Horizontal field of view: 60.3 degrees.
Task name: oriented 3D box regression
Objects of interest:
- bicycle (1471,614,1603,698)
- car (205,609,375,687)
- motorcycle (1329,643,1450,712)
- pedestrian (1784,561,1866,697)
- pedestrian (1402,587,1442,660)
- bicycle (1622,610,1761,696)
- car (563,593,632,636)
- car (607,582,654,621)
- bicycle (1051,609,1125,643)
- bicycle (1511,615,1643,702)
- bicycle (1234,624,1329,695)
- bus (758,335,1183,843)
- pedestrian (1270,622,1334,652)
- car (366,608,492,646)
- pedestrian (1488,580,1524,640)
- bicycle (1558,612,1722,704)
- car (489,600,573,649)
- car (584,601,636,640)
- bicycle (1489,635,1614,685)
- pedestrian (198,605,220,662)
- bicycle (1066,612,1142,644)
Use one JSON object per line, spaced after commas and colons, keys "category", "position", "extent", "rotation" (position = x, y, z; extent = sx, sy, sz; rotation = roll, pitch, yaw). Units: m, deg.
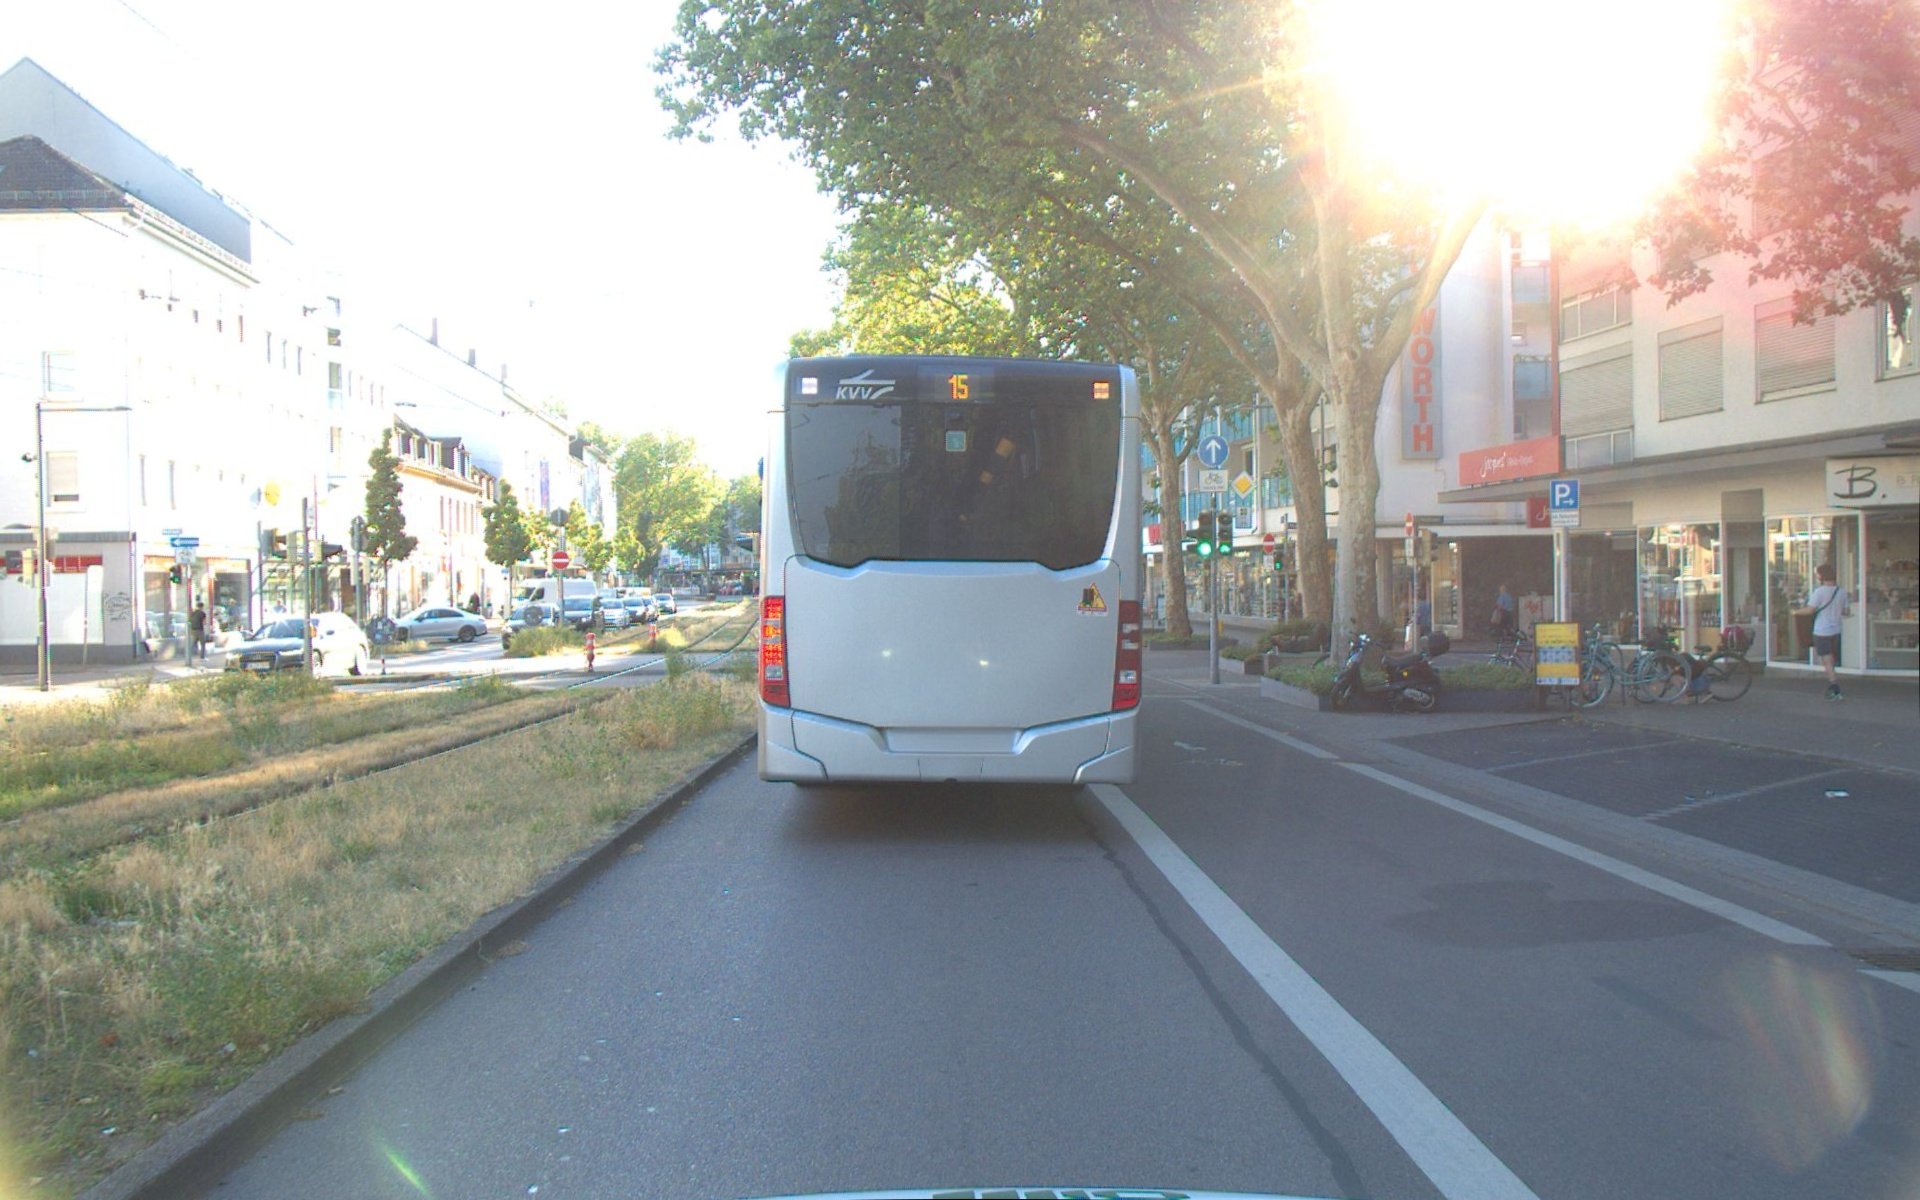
{"category": "bicycle", "position": [9.264, 0.893, 26.614], "extent": [1.836, 1.210, 0.712], "rotation": [-4, -1, 7]}
{"category": "car", "position": [-15.038, 1.034, 37.411], "extent": [1.953, 1.586, 4.773], "rotation": [-1, 0, -1]}
{"category": "motorcycle", "position": [6.042, 1.084, 23.289], "extent": [1.539, 0.908, 0.544], "rotation": [-1, 0, -4]}
{"category": "pedestrian", "position": [12.417, 0.402, 23.763], "extent": [0.632, 1.909, 0.821], "rotation": [-1, 0, -14]}
{"category": "pedestrian", "position": [11.642, 0.593, 41.724], "extent": [0.764, 1.825, 0.764], "rotation": [-1, 0, -1]}
{"category": "bicycle", "position": [10.840, 0.781, 24.554], "extent": [1.726, 1.174, 0.679], "rotation": [-3, 0, 8]}
{"category": "car", "position": [-14.861, 0.570, 67.934], "extent": [1.744, 1.643, 4.509], "rotation": [-1, 0, 1]}
{"category": "car", "position": [-17.843, 0.080, 89.608], "extent": [1.954, 2.049, 3.997], "rotation": [-1, 0, -4]}
{"category": "bicycle", "position": [4.179, 0.836, 54.036], "extent": [2.267, 1.046, 0.835], "rotation": [-1, 1, -9]}
{"category": "bicycle", "position": [9.543, 0.898, 25.610], "extent": [1.753, 1.210, 0.671], "rotation": [-4, -1, -10]}
{"category": "bicycle", "position": [5.449, 0.999, 28.058], "extent": [1.478, 1.124, 0.460], "rotation": [2, 0, -1]}
{"category": "bus", "position": [0.077, -0.087, 13.820], "extent": [2.623, 3.137, 7.114], "rotation": [0, 0, 0]}
{"category": "pedestrian", "position": [7.080, 0.767, 34.250], "extent": [1.229, 0.599, 0.482], "rotation": [0, 0, -3]}
{"category": "car", "position": [-21.524, 1.073, 67.091], "extent": [4.504, 1.437, 1.973], "rotation": [-1, 0, -38]}
{"category": "pedestrian", "position": [16.118, 0.281, 48.805], "extent": [0.733, 1.708, 0.834], "rotation": [-1, 2, -7]}
{"category": "bicycle", "position": [9.907, 0.841, 24.156], "extent": [2.037, 1.254, 0.832], "rotation": [-2, 0, 4]}
{"category": "car", "position": [-14.963, 0.828, 57.888], "extent": [1.744, 1.475, 4.045], "rotation": [-3, 1, 1]}
{"category": "car", "position": [-16.887, 0.975, 79.985], "extent": [1.860, 1.836, 3.997], "rotation": [-1, 0, -4]}
{"category": "bicycle", "position": [9.822, 0.993, 27.492], "extent": [1.836, 0.779, 0.712], "rotation": [-1, 0, 7]}
{"category": "pedestrian", "position": [-23.261, 1.033, 51.217], "extent": [0.417, 1.743, 0.508], "rotation": [-1, 0, 3]}
{"category": "bicycle", "position": [4.600, 0.896, 52.848], "extent": [2.267, 0.956, 0.835], "rotation": [-1, 1, -9]}
